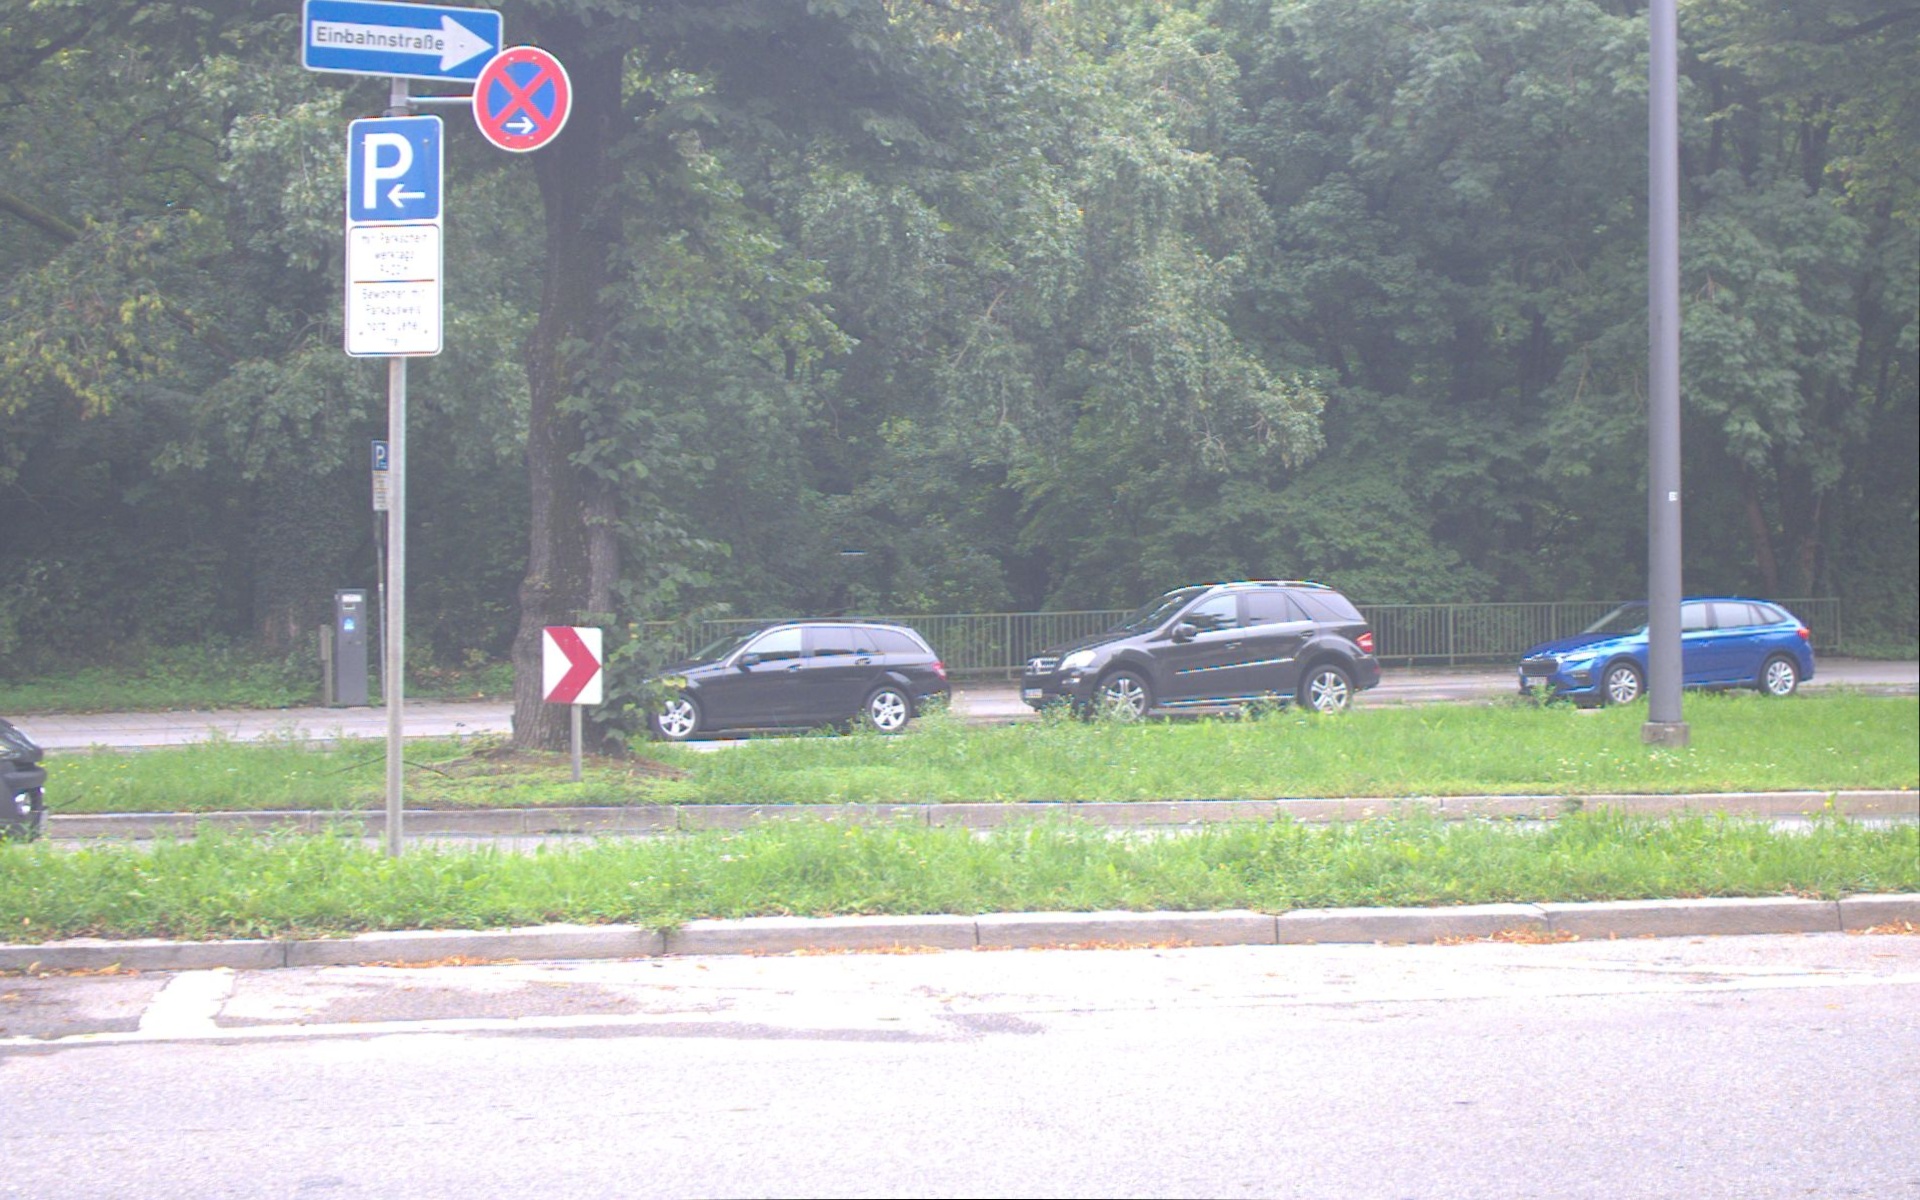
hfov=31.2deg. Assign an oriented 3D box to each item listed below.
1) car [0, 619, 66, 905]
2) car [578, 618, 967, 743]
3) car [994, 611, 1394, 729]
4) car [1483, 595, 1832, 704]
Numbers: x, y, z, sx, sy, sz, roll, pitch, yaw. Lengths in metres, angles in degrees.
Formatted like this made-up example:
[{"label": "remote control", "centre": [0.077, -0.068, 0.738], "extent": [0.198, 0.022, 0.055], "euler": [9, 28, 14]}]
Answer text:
[{"label": "car", "centre": [-6.890, 0.838, 18.171], "extent": [4.060, 1.456, 1.765], "euler": [0, 0, -10]}, {"label": "car", "centre": [-2.298, 0.963, 42.054], "extent": [4.303, 1.442, 2.000], "euler": [0, -1, -25]}, {"label": "car", "centre": [3.025, 0.887, 44.341], "extent": [4.752, 1.442, 2.000], "euler": [0, -1, -25]}, {"label": "car", "centre": [9.644, 0.675, 47.519], "extent": [4.408, 1.442, 2.000], "euler": [0, -1, -26]}]
